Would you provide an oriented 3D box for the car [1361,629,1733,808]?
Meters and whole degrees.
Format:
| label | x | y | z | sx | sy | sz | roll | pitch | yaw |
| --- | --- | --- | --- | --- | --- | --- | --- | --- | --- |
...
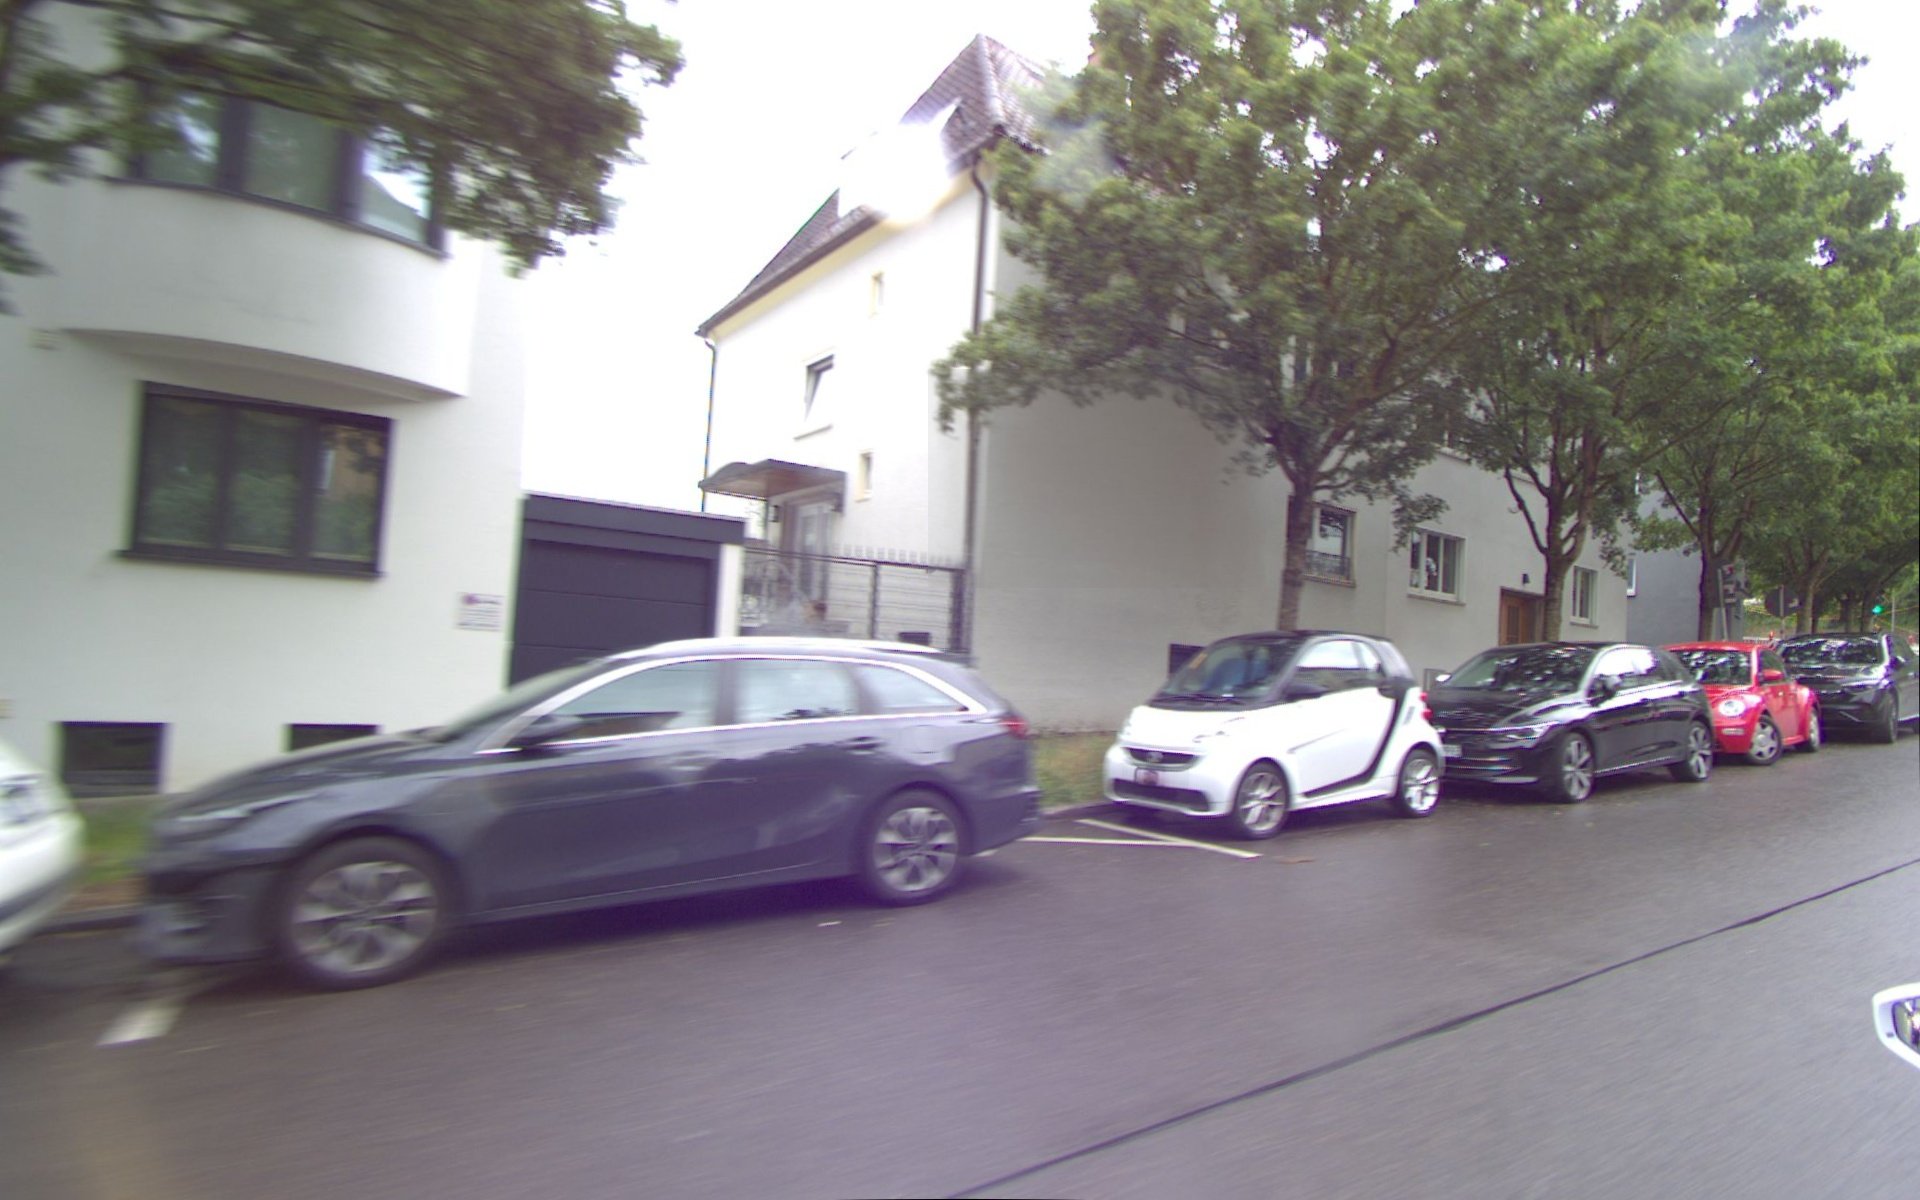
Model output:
| label | x | y | z | sx | sy | sz | roll | pitch | yaw |
| --- | --- | --- | --- | --- | --- | --- | --- | --- | --- |
| car | 6.079 | 1.148 | 10.288 | 4.053 | 1.507 | 1.548 | 3 | -6 | -32 |

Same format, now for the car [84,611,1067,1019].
| label | x | y | z | sx | sy | sz | roll | pitch | yaw |
| --- | --- | --- | --- | --- | --- | --- | --- | --- | --- |
| car | -1.698 | 0.942 | 5.568 | 4.421 | 1.507 | 1.658 | 2 | -6 | -29 |

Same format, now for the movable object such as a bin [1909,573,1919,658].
| label | x | y | z | sx | sy | sz | roll | pitch | yaw |
| --- | --- | --- | --- | --- | --- | --- | --- | --- | --- |
| movable object such as a bin | 46.239 | 0.710 | 45.289 | 2.775 | 4.067 | 7.321 | 0 | -1 | 25 |

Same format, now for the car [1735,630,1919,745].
| label | x | y | z | sx | sy | sz | roll | pitch | yaw |
| --- | --- | --- | --- | --- | --- | --- | --- | --- | --- |
| car | 14.373 | 1.342 | 16.293 | 4.534 | 1.629 | 1.670 | 1 | -5 | -37 |

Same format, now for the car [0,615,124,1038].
| label | x | y | z | sx | sy | sz | roll | pitch | yaw |
| --- | --- | --- | --- | --- | --- | --- | --- | --- | --- |
| car | -5.256 | 0.852 | 3.395 | 3.426 | 1.507 | 1.569 | 1 | -5 | -28 |

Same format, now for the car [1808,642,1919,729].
| label | x | y | z | sx | sy | sz | roll | pitch | yaw |
| --- | --- | --- | --- | --- | --- | --- | --- | --- | --- |
| car | 18.143 | 1.589 | 19.451 | 4.275 | 1.528 | 1.670 | 1 | -5 | -37 |

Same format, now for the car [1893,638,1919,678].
| label | x | y | z | sx | sy | sz | roll | pitch | yaw |
| --- | --- | --- | --- | --- | --- | --- | --- | --- | --- |
| car | 37.716 | 2.219 | 38.423 | 1.694 | 1.505 | 4.074 | -1 | -3 | 24 |

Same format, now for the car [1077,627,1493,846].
| label | x | y | z | sx | sy | sz | roll | pitch | yaw |
| --- | --- | --- | --- | --- | --- | --- | --- | --- | --- |
| car | 2.815 | 1.085 | 8.618 | 3.345 | 1.530 | 1.548 | 2 | -6 | -31 |

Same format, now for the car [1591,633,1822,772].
| label | x | y | z | sx | sy | sz | roll | pitch | yaw |
| --- | --- | --- | --- | --- | --- | --- | --- | --- | --- |
| car | 9.969 | 1.296 | 13.326 | 3.818 | 1.585 | 1.619 | 4 | -5 | -40 |
